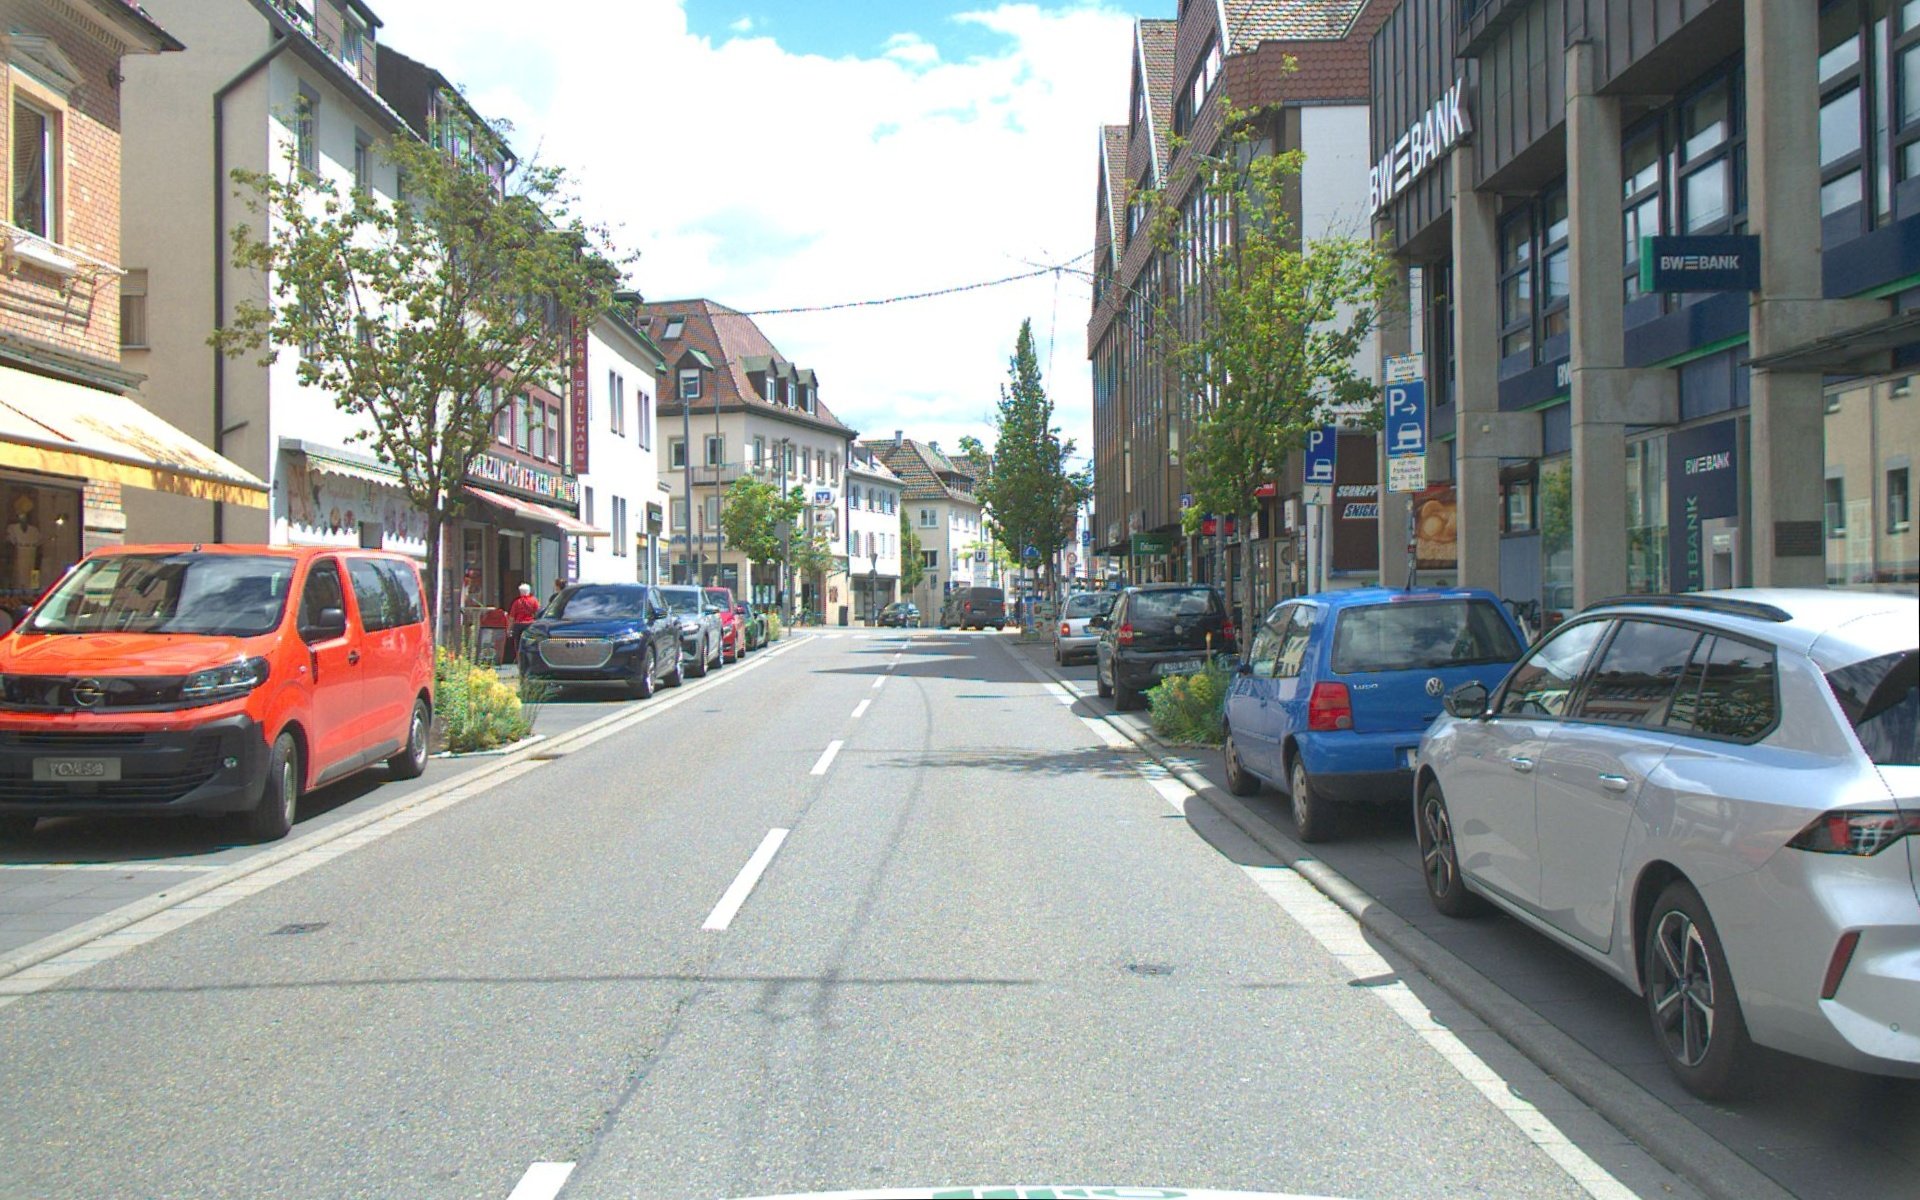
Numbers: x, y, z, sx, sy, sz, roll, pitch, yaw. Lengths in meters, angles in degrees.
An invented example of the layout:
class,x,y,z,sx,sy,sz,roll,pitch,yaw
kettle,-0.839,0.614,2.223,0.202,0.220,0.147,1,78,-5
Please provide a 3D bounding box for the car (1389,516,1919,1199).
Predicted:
class,x,y,z,sx,sy,sz,roll,pitch,yaw
car,2.989,0.528,6.035,1.686,1.604,4.429,-2,1,1

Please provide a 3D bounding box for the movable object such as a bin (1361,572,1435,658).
class,x,y,z,sx,sy,sz,roll,pitch,yaw
movable object such as a bin,8.143,0.282,30.815,1.118,1.554,1.032,1,-1,2

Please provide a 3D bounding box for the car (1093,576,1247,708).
class,x,y,z,sx,sy,sz,roll,pitch,yaw
car,2.704,0.500,21.975,1.576,1.559,3.795,-2,0,1

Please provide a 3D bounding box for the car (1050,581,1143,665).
class,x,y,z,sx,sy,sz,roll,pitch,yaw
car,2.767,0.437,34.169,1.576,1.521,3.795,-4,0,1

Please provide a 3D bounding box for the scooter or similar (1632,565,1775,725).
class,x,y,z,sx,sy,sz,roll,pitch,yaw
scooter or similar,6.159,0.364,13.764,0.398,1.267,1.321,1,-1,-11

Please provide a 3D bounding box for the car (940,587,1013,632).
class,x,y,z,sx,sy,sz,roll,pitch,yaw
car,0.689,0.414,73.067,2.006,1.881,4.981,1,-1,-14

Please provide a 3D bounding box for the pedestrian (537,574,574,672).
class,x,y,z,sx,sy,sz,roll,pitch,yaw
pedestrian,-6.974,0.394,28.545,0.503,1.677,0.471,1,-1,-2

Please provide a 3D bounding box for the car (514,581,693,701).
class,x,y,z,sx,sy,sz,roll,pitch,yaw
car,-5.228,0.548,24.801,1.762,1.626,4.388,0,0,0

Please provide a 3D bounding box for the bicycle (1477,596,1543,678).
class,x,y,z,sx,sy,sz,roll,pitch,yaw
bicycle,7.903,0.522,23.812,0.416,1.139,1.741,1,-1,2

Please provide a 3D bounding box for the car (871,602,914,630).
class,x,y,z,sx,sy,sz,roll,pitch,yaw
car,-3.767,0.916,93.349,1.590,1.512,3.808,1,-1,11

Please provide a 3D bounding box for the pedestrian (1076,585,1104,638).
class,x,y,z,sx,sy,sz,roll,pitch,yaw
pedestrian,4.052,0.356,51.538,0.768,1.644,0.800,1,-1,-1

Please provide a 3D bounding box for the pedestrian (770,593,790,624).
class,x,y,z,sx,sy,sz,roll,pitch,yaw
pedestrian,-9.079,0.446,83.446,0.613,1.559,0.858,0,-1,23

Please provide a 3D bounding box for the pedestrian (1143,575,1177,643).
class,x,y,z,sx,sy,sz,roll,pitch,yaw
pedestrian,5.183,0.237,42.837,0.647,1.736,0.642,1,-1,-23

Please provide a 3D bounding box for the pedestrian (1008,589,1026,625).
class,x,y,z,sx,sy,sz,roll,pitch,yaw
pedestrian,2.805,0.351,81.779,0.851,1.738,0.531,1,-1,2

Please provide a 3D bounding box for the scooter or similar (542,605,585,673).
class,x,y,z,sx,sy,sz,roll,pitch,yaw
scooter or similar,-7.012,0.682,29.274,0.551,1.171,0.984,1,-1,-3

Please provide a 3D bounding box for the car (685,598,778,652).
class,x,y,z,sx,sy,sz,roll,pitch,yaw
car,-5.800,0.603,42.429,1.782,1.245,4.523,1,0,-1

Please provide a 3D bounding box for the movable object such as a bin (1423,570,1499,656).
class,x,y,z,sx,sy,sz,roll,pitch,yaw
movable object such as a bin,9.337,0.239,30.853,1.118,1.554,1.032,1,-1,2

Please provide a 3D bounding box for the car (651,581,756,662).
class,x,y,z,sx,sy,sz,roll,pitch,yaw
car,-5.477,0.427,35.752,1.763,1.632,4.216,-1,0,-2

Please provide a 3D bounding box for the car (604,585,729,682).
class,x,y,z,sx,sy,sz,roll,pitch,yaw
car,-5.327,0.561,30.453,1.764,1.632,4.348,-1,0,-4

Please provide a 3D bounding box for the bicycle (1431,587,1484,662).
class,x,y,z,sx,sy,sz,roll,pitch,yaw
bicycle,7.862,0.385,26.159,0.416,1.139,1.502,1,-1,1

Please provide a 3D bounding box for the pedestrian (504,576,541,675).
class,x,y,z,sx,sy,sz,roll,pitch,yaw
pedestrian,-7.525,0.443,28.477,0.491,1.677,0.574,1,-1,-4

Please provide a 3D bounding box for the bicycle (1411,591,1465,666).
class,x,y,z,sx,sy,sz,roll,pitch,yaw
bicycle,7.459,0.429,25.861,0.416,1.100,1.502,-2,1,1

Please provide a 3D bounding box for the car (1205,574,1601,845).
class,x,y,z,sx,sy,sz,roll,pitch,yaw
car,2.833,0.640,11.489,1.686,1.520,4.109,1,0,1

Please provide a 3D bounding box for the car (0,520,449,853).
class,x,y,z,sx,sy,sz,roll,pitch,yaw
car,-5.202,0.524,12.017,1.780,1.922,4.836,1,0,-4

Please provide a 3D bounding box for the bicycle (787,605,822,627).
class,x,y,z,sx,sy,sz,roll,pitch,yaw
bicycle,-7.557,0.779,80.540,1.597,1.049,0.568,1,-1,15

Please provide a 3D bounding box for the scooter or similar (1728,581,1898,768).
class,x,y,z,sx,sy,sz,roll,pitch,yaw
scooter or similar,6.182,0.513,12.061,0.413,1.267,1.561,1,-1,-1

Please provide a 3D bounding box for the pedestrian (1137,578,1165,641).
class,x,y,z,sx,sy,sz,roll,pitch,yaw
pedestrian,5.679,0.293,49.247,0.722,1.846,0.711,1,-1,-1

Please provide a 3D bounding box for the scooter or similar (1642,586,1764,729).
class,x,y,z,sx,sy,sz,roll,pitch,yaw
scooter or similar,6.903,0.515,15.426,0.413,1.267,1.561,1,-1,-1
